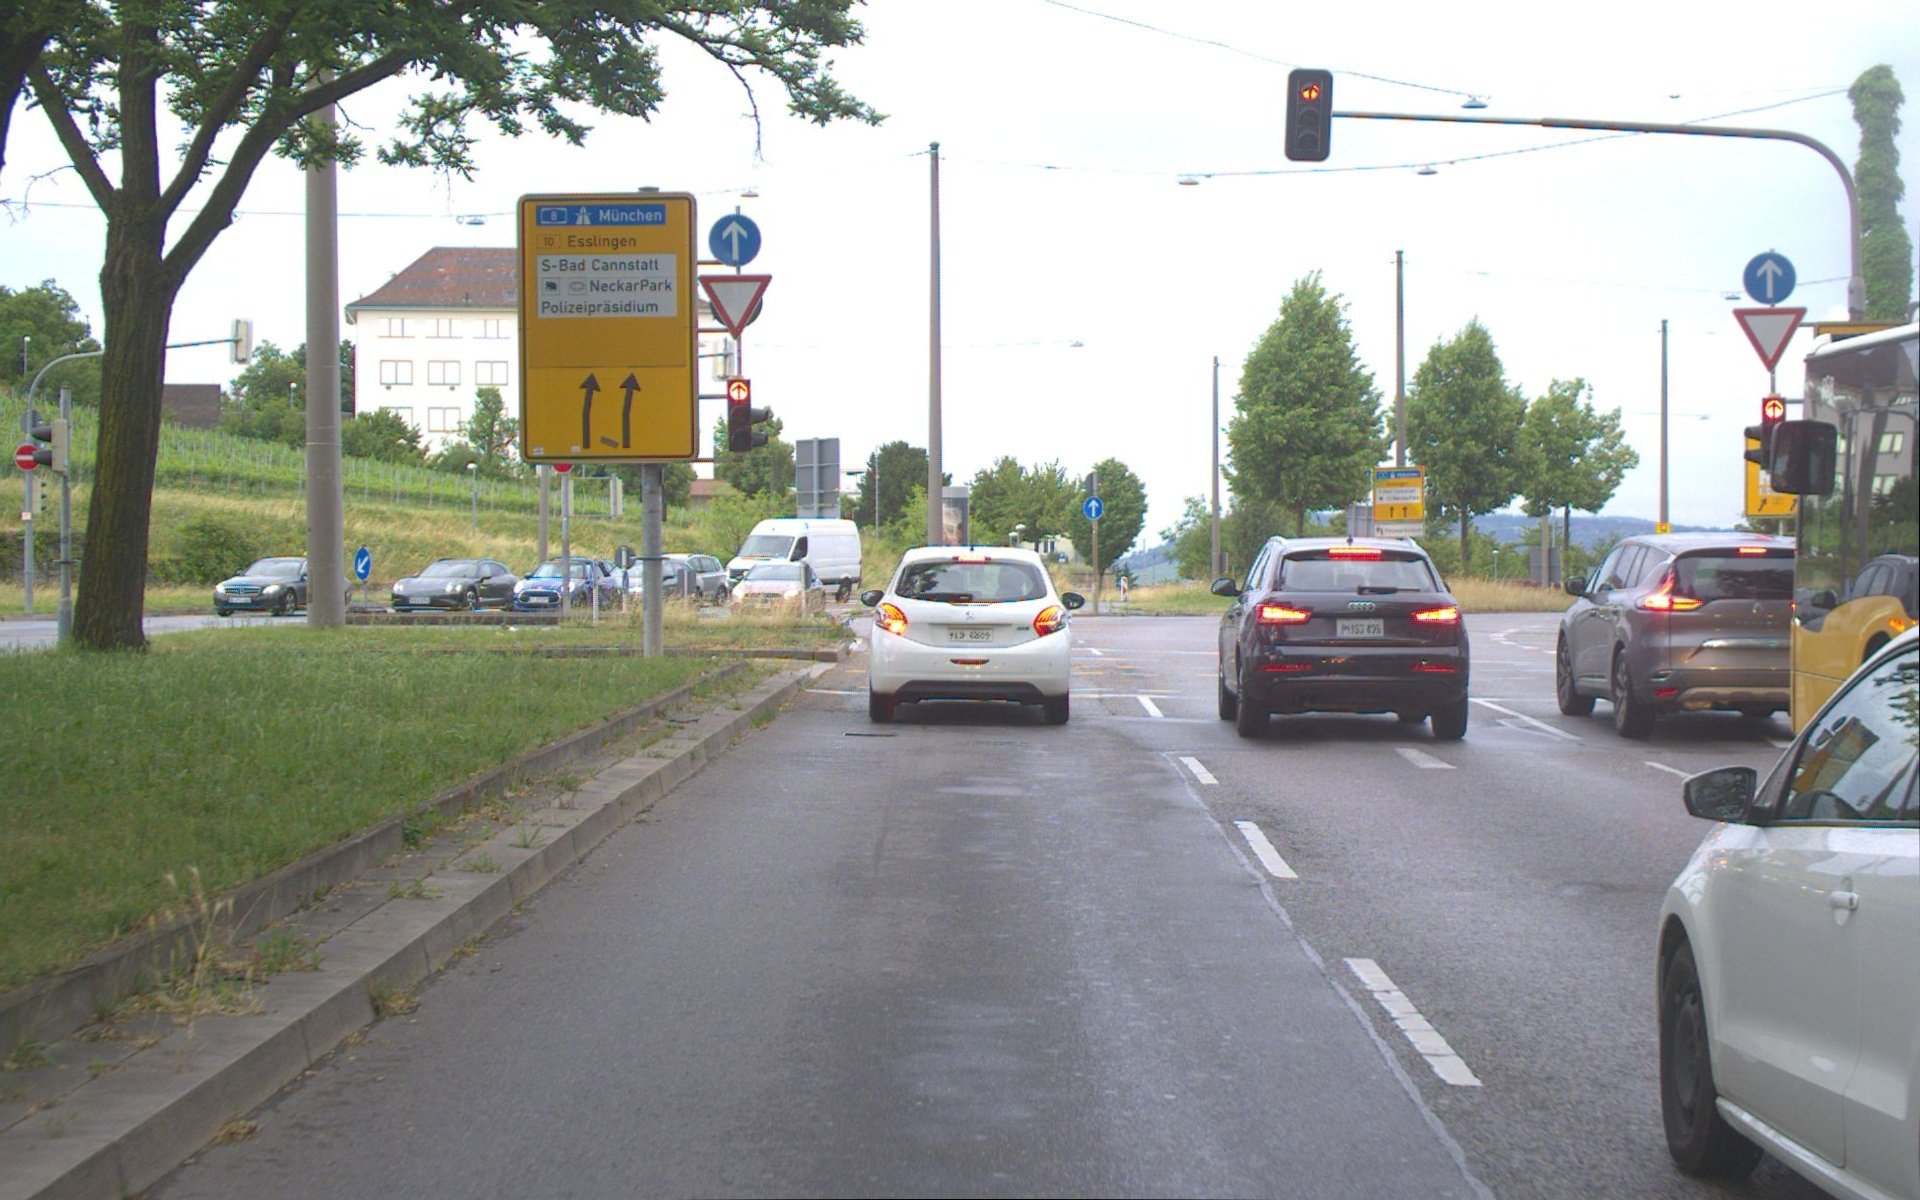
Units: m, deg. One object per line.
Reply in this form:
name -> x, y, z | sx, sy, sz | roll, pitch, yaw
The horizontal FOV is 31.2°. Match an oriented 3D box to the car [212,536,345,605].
car -> -16.800, -0.732, 84.964 | 1.830, 1.618, 4.565 | 2, 1, 8

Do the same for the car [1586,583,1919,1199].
car -> 2.533, 0.717, 7.071 | 1.741, 1.427, 3.812 | 2, 1, 0

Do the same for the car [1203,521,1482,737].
car -> 3.063, 0.201, 28.290 | 1.884, 1.590, 4.113 | 2, 1, 1

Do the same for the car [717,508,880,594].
car -> -5.024, -1.503, 107.903 | 1.997, 2.550, 6.159 | 2, 1, 31

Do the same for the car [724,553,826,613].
car -> -4.541, -0.426, 84.995 | 1.776, 1.420, 4.373 | 0, 0, 7

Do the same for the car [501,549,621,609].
car -> -9.766, -0.502, 84.394 | 1.787, 1.391, 3.880 | 1, 0, 12

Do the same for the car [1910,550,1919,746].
car -> 9.026, 0.340, 27.755 | 1.867, 1.493, 4.146 | -2, -1, 26

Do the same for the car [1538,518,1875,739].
car -> 6.209, 0.171, 29.130 | 1.865, 1.668, 4.566 | 1, 2, 0

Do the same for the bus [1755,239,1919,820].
bus -> 6.495, -0.303, 16.618 | 2.727, 3.141, 12.146 | 2, 2, 2

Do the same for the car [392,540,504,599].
car -> -12.844, -0.741, 86.455 | 1.787, 1.391, 3.881 | 1, 0, 7

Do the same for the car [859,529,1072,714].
car -> 0.081, 0.153, 29.964 | 1.718, 1.484, 4.000 | 1, 1, 1
